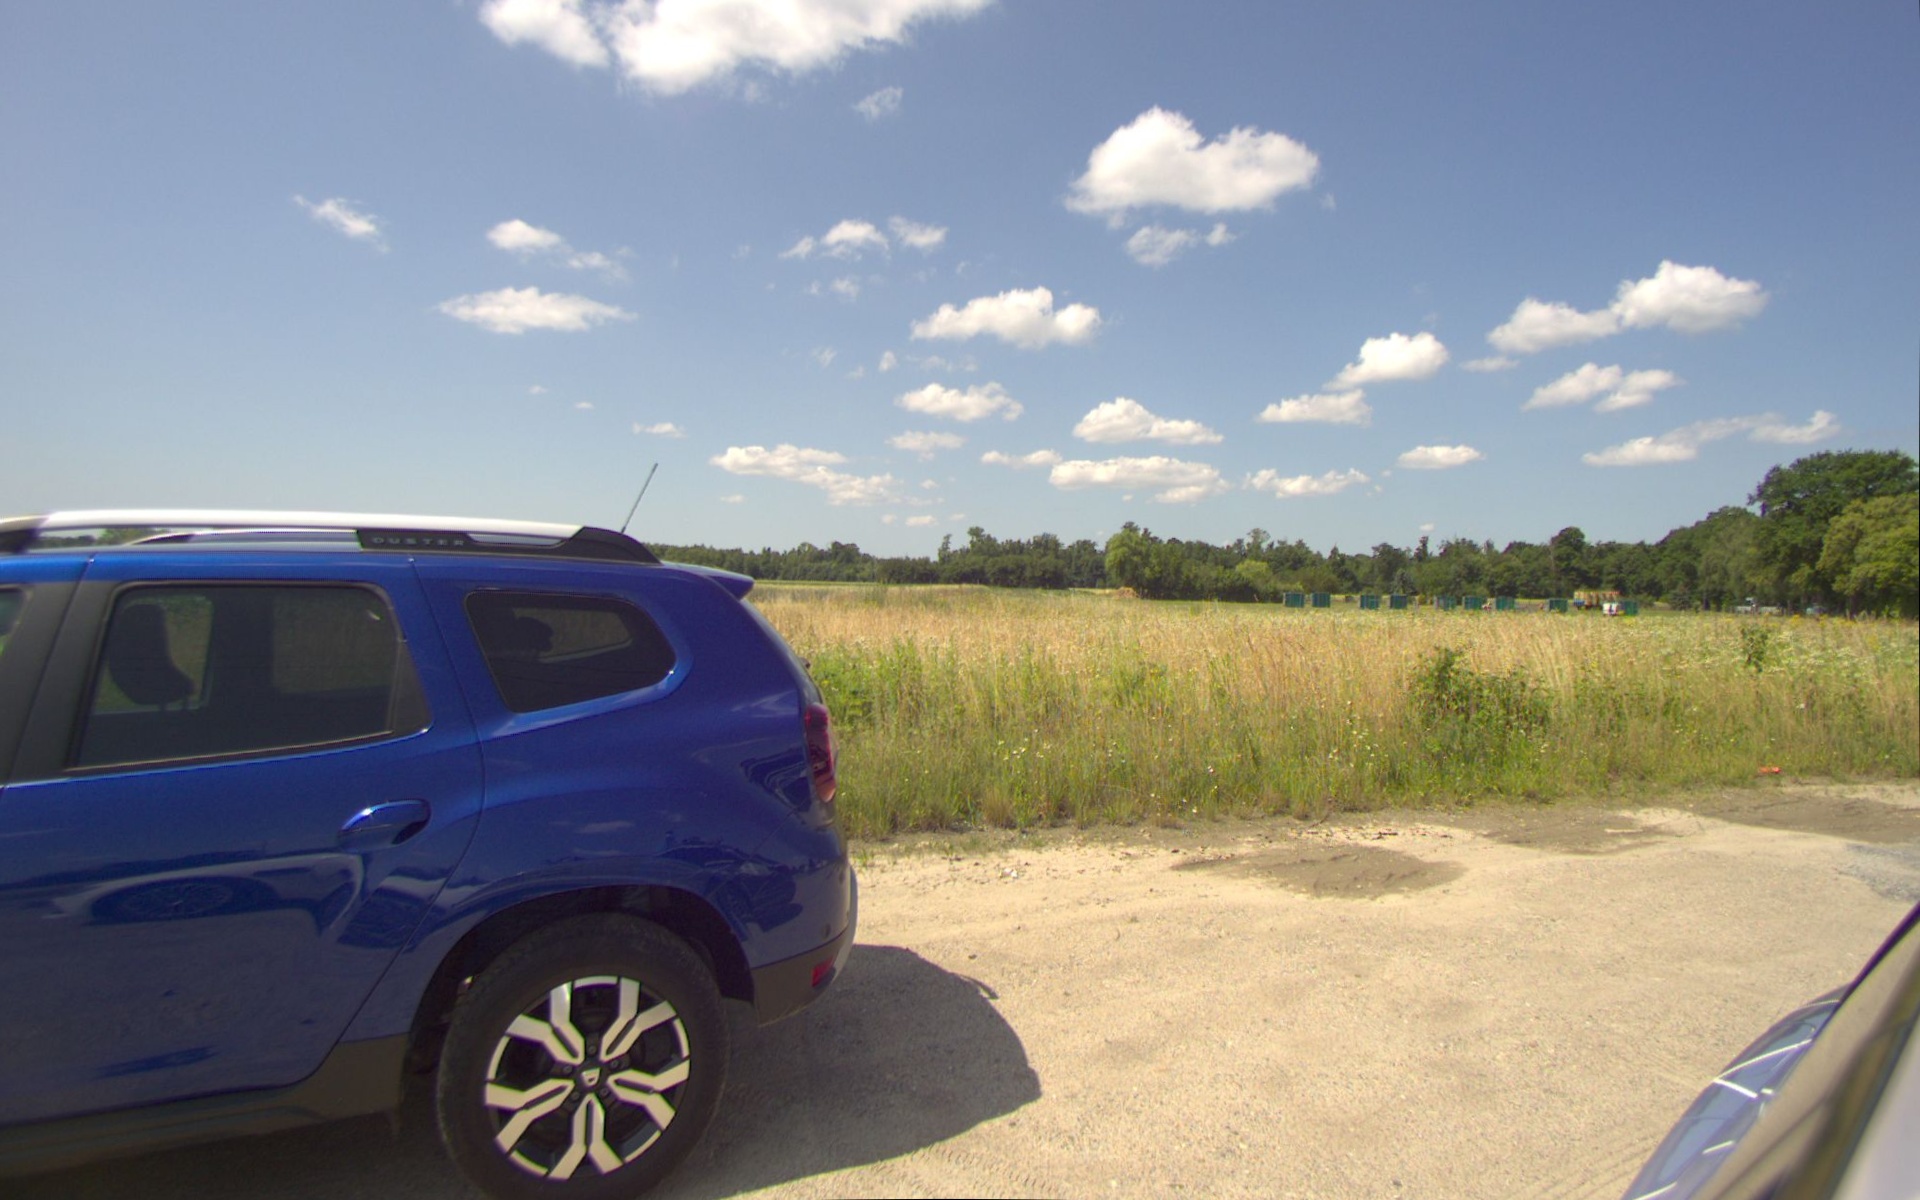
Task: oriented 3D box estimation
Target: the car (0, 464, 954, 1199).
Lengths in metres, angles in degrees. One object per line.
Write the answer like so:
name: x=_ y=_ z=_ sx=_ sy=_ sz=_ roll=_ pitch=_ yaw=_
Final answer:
car: x=-2.388 y=0.573 z=2.725 sx=4.365 sy=1.682 sz=1.868 roll=0 pitch=0 yaw=-22
